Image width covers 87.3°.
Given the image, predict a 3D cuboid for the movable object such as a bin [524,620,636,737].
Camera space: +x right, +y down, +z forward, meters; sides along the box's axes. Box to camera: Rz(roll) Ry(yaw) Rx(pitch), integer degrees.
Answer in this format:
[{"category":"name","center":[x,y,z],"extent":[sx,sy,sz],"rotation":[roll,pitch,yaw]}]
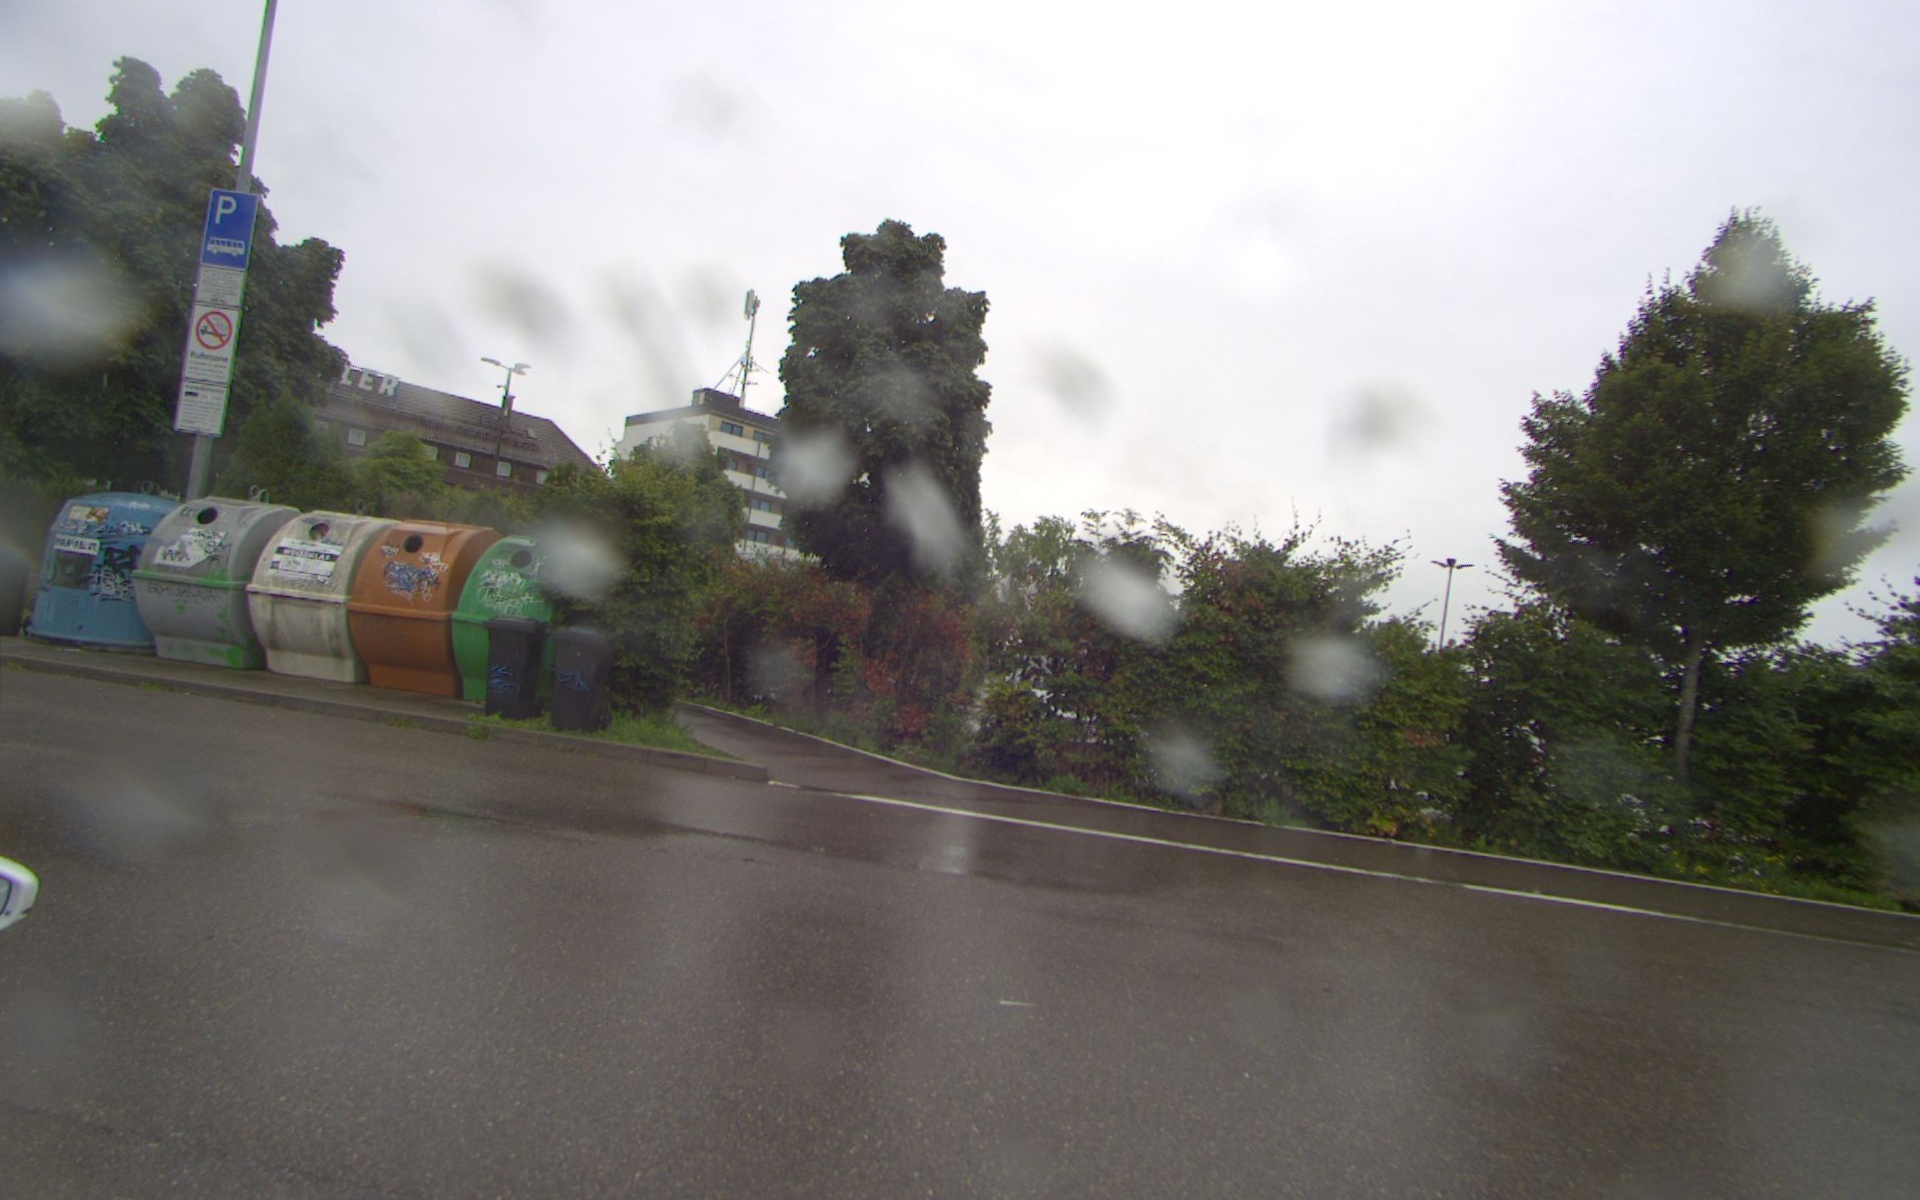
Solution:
[{"category":"movable object such as a bin","center":[-3.311,0.690,8.781],"extent":[0.549,0.931,0.628],"rotation":[7,-1,39]}]

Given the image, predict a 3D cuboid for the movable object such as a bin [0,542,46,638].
[{"category":"movable object such as a bin","center":[-9.811,-0.115,10.306],"extent":[0.480,0.928,0.449],"rotation":[7,0,28]}]

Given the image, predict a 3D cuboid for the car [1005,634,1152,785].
[{"category":"car","center":[1.444,1.381,13.375],"extent":[1.519,1.528,3.673],"rotation":[7,-3,3]}]

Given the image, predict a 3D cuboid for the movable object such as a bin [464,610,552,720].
[{"category":"movable object such as a bin","center":[-4.087,0.591,9.103],"extent":[0.410,0.931,0.493],"rotation":[7,-1,39]}]

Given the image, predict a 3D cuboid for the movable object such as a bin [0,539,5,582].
[{"category":"movable object such as a bin","center":[-10.339,-0.195,10.416],"extent":[0.480,0.950,0.449],"rotation":[7,0,28]}]
